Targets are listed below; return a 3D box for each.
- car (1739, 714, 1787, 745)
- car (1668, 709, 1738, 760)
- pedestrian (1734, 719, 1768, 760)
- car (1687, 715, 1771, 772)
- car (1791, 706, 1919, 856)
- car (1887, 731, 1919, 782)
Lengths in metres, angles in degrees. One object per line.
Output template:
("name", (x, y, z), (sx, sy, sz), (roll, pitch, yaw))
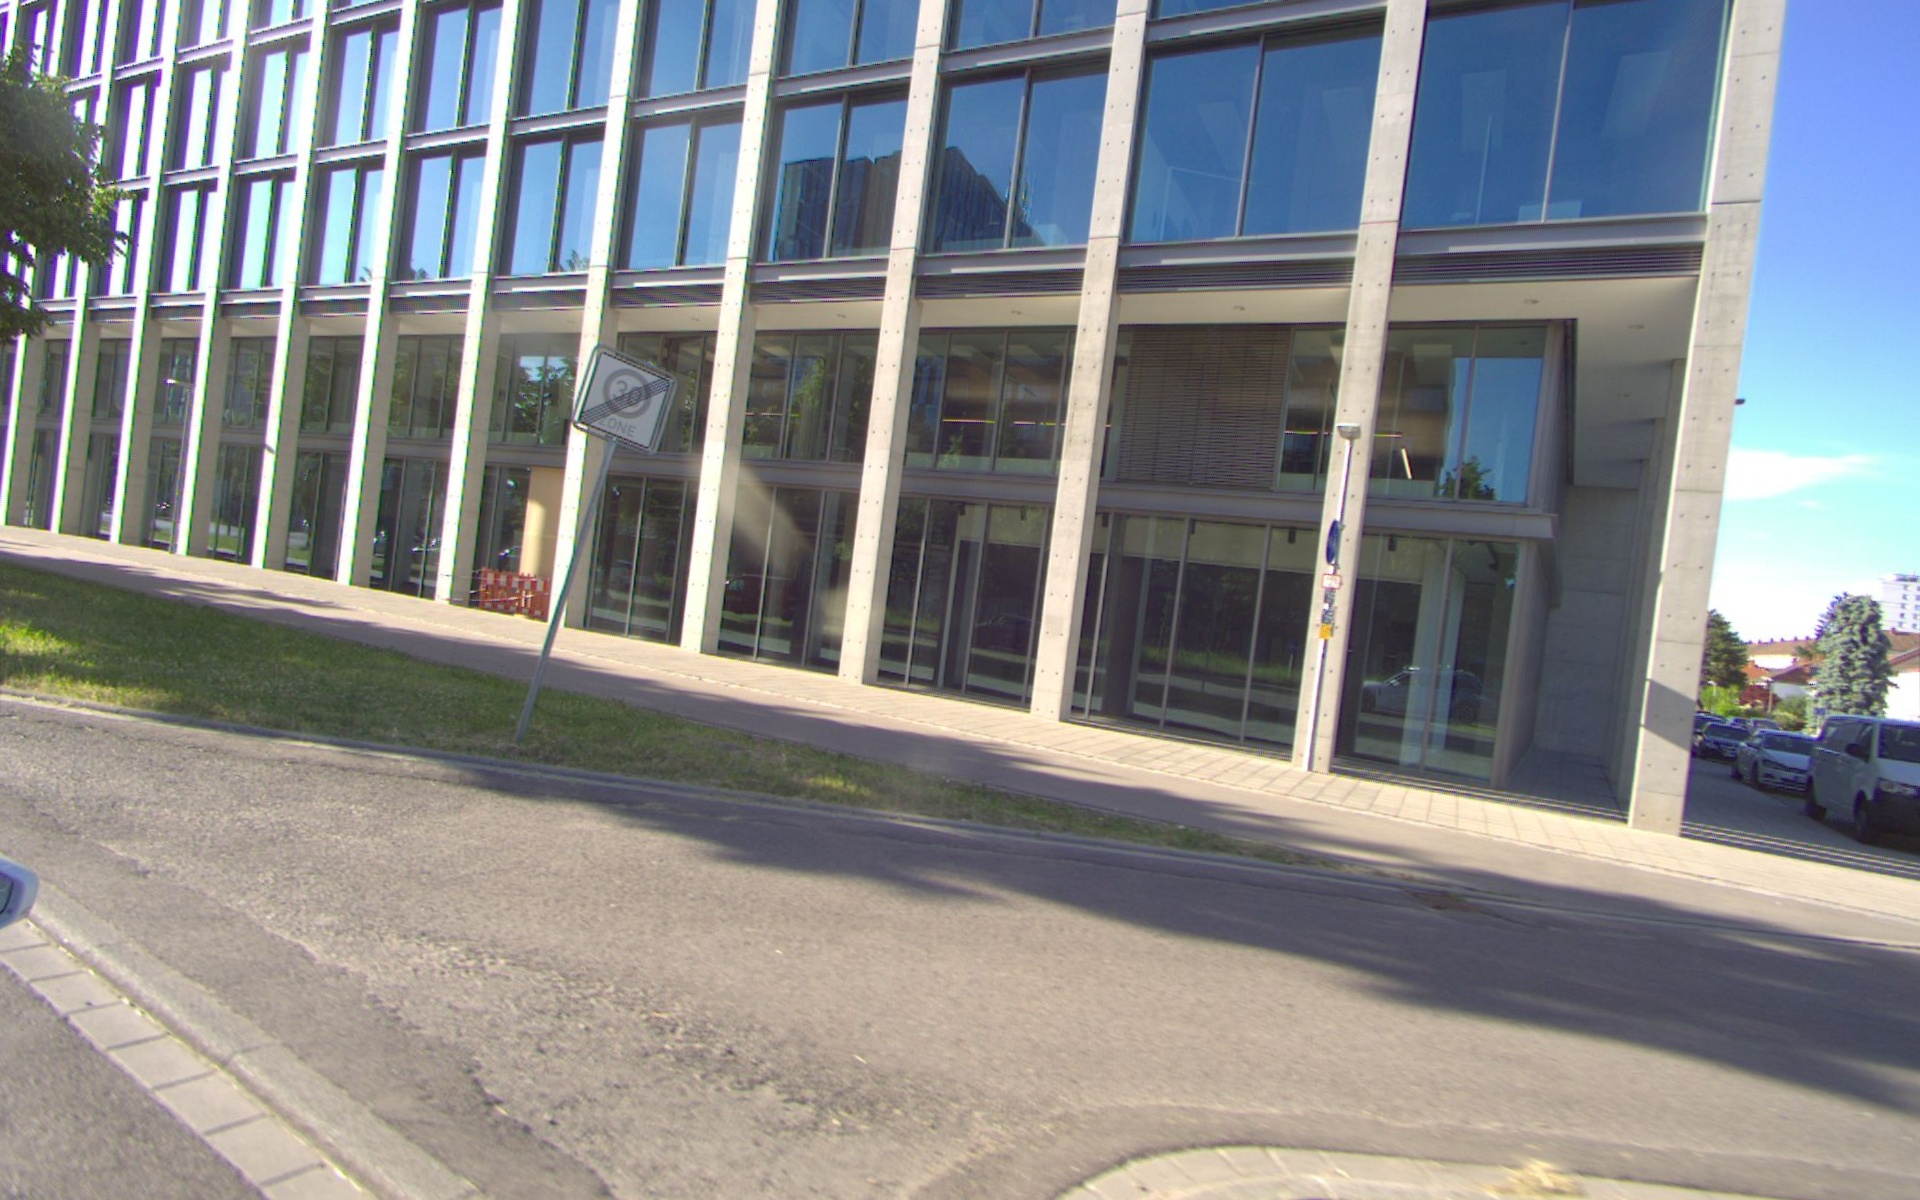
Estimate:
("car", (54.758, 8.806, 68.653), (1.824, 1.659, 3.818), (6, -1, 30))
("car", (30.276, 5.454, 41.075), (1.719, 1.680, 3.841), (6, -1, 30))
("pedestrian", (39.639, 6.988, 50.425), (0.947, 1.853, 1.195), (7, 0, 28))
("car", (27.078, 5.010, 35.540), (1.719, 1.570, 3.841), (6, -1, 30))
("car", (15.299, 2.881, 16.221), (1.905, 2.005, 5.075), (8, 0, 31))
("car", (39.637, 6.514, 39.749), (3.931, 1.872, 1.675), (8, 1, 29))
